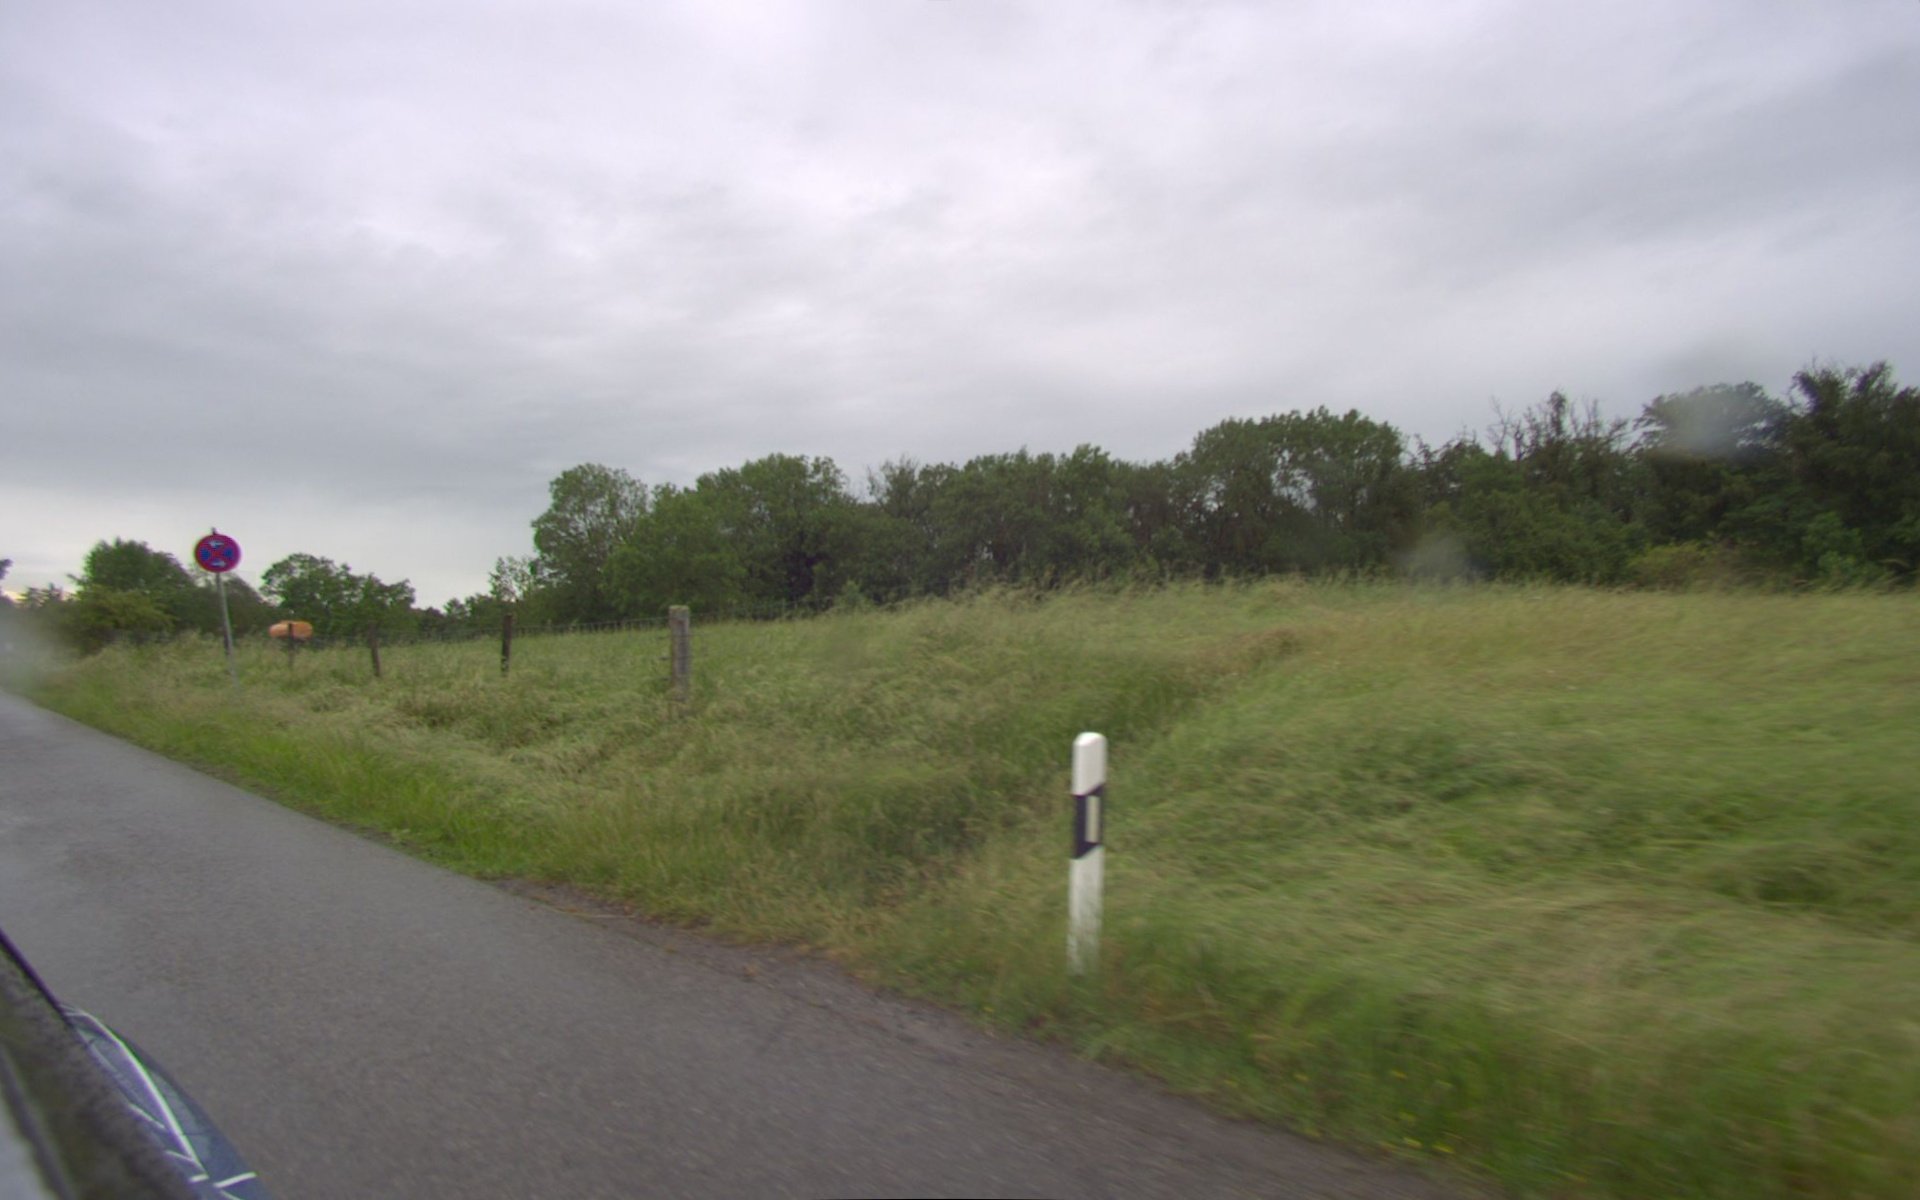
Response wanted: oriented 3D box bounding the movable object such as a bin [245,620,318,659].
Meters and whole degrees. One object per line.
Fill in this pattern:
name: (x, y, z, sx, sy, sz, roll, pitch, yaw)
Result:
movable object such as a bin: (-29.062, 1.669, 43.322, 3.536, 1.583, 1.661, -2, 0, 41)
